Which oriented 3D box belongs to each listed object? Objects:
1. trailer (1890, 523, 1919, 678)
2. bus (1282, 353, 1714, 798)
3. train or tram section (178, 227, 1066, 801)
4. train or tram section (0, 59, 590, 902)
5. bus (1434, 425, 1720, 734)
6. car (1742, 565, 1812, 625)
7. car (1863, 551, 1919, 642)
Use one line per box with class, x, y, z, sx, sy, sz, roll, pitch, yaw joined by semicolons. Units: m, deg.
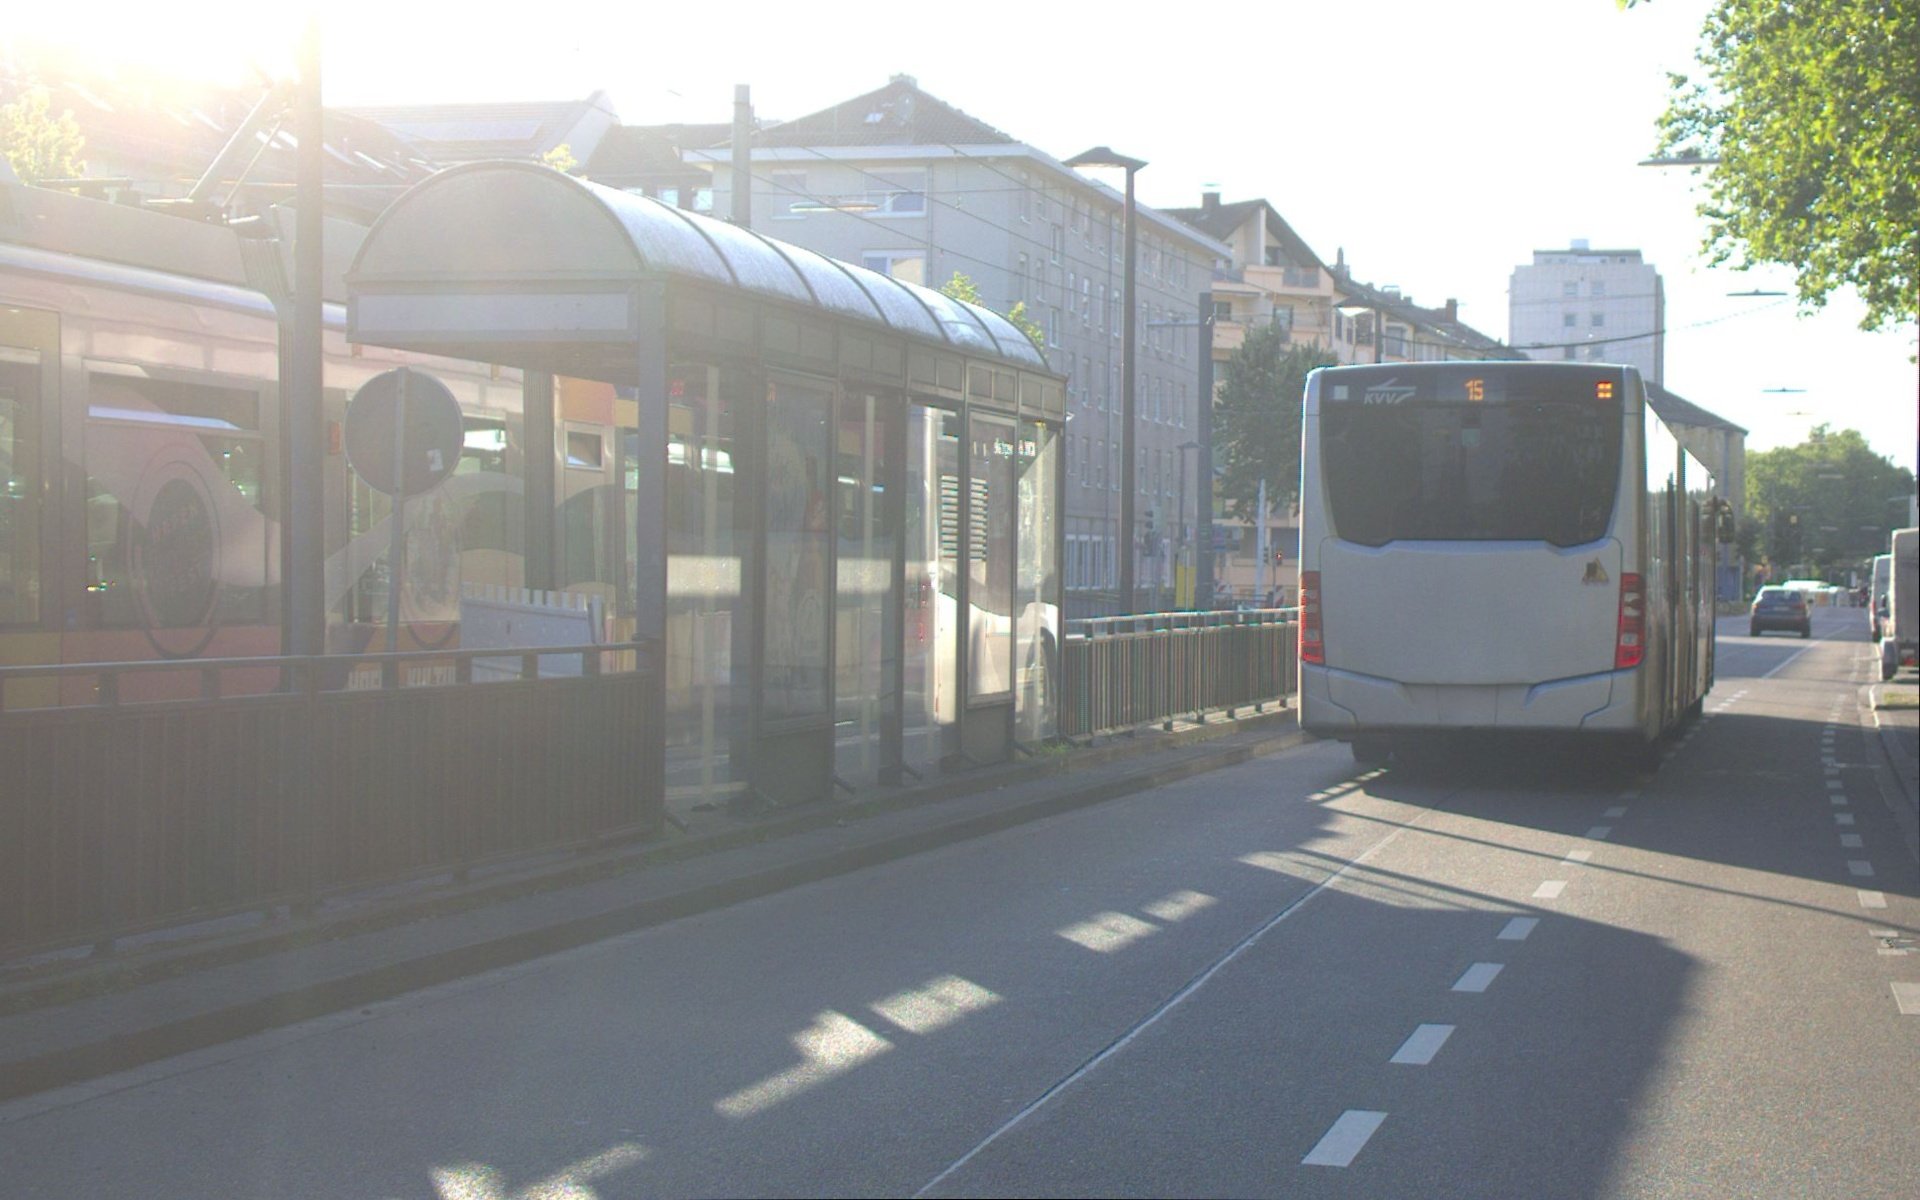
trailer;16.715;0.007;58.184;1.834;2.549;3.316;0;0;15
bus;4.955;-0.246;29.712;2.735;3.128;10.696;1;1;14
train or tram section;-1.948;-0.572;27.809;2.642;3.507;13.324;1;0;15
train or tram section;-5.230;-0.518;15.246;2.730;3.537;12.776;1;0;15
bus;7.209;-0.261;39.231;2.710;3.096;8.974;1;1;13
car;25.905;-0.177;108.911;1.995;1.809;3.997;1;1;16
car;27.941;-0.087;101.833;2.284;2.618;5.305;1;0;15
